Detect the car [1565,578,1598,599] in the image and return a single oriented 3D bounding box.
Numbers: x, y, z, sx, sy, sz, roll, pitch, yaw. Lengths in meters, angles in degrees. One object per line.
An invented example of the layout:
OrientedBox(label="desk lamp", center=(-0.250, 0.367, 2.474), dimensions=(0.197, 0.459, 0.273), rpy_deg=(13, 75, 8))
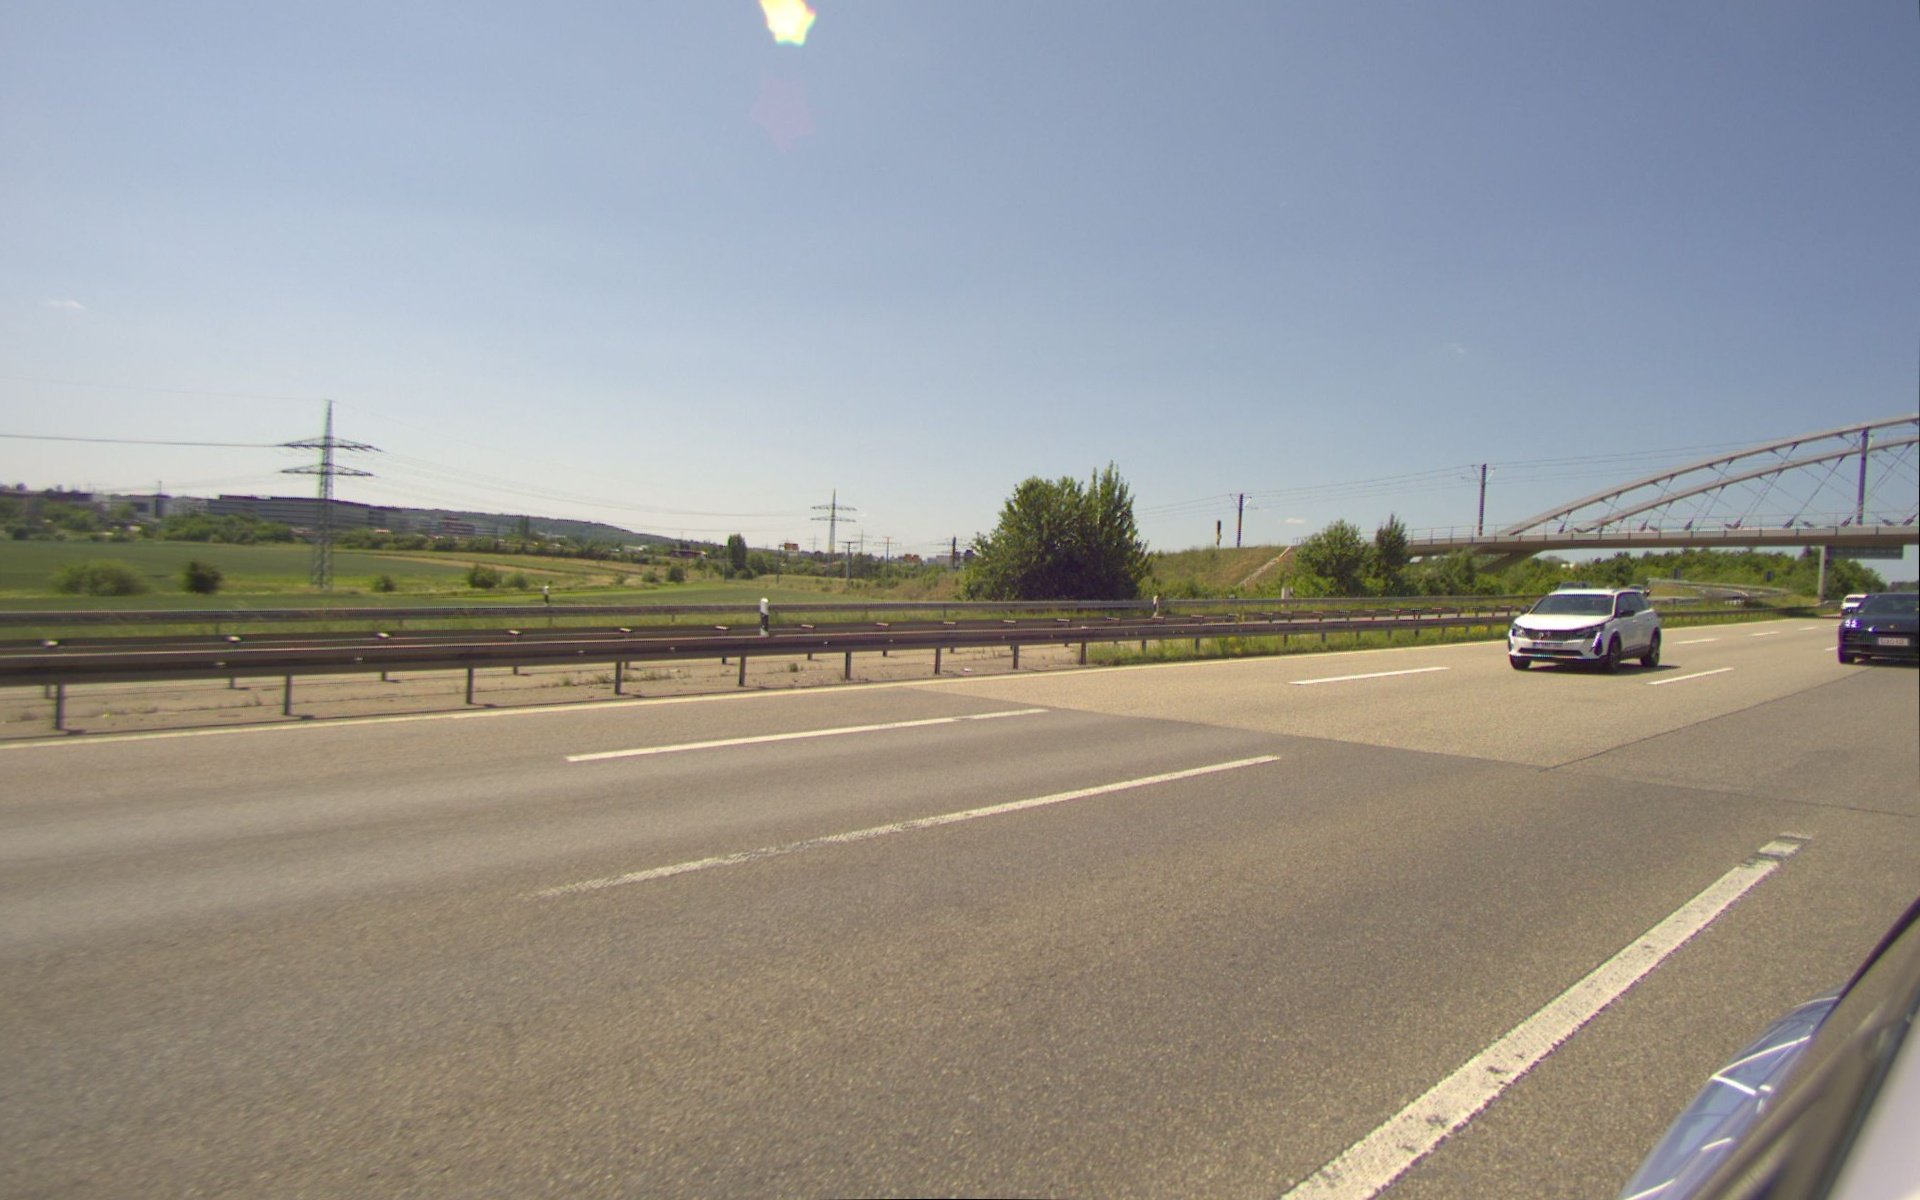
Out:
OrientedBox(label="car", center=(49.781, -0.946, 81.067), dimensions=(1.697, 1.594, 4.069), rpy_deg=(1, 1, 39))

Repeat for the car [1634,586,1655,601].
OrientedBox(label="car", center=(73.148, -0.739, 108.116), dimensions=(1.695, 1.594, 4.073), rpy_deg=(1, 1, 37))

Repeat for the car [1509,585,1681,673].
OrientedBox(label="car", center=(13.103, 0.514, 20.778), dimensions=(4.539, 1.611, 1.747), rpy_deg=(0, 1, -41))

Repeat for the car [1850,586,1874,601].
OrientedBox(label="car", center=(129.080, -0.930, 144.751), dimensions=(3.929, 2.039, 1.998), rpy_deg=(0, 1, -40))

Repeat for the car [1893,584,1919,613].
OrientedBox(label="car", center=(64.504, -0.129, 68.552), dimensions=(1.805, 1.943, 4.226), rpy_deg=(1, 1, 45))

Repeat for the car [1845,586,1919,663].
OrientedBox(label="car", center=(21.625, 0.506, 22.947), dimensions=(4.062, 1.615, 1.929), rpy_deg=(0, 1, -43))
